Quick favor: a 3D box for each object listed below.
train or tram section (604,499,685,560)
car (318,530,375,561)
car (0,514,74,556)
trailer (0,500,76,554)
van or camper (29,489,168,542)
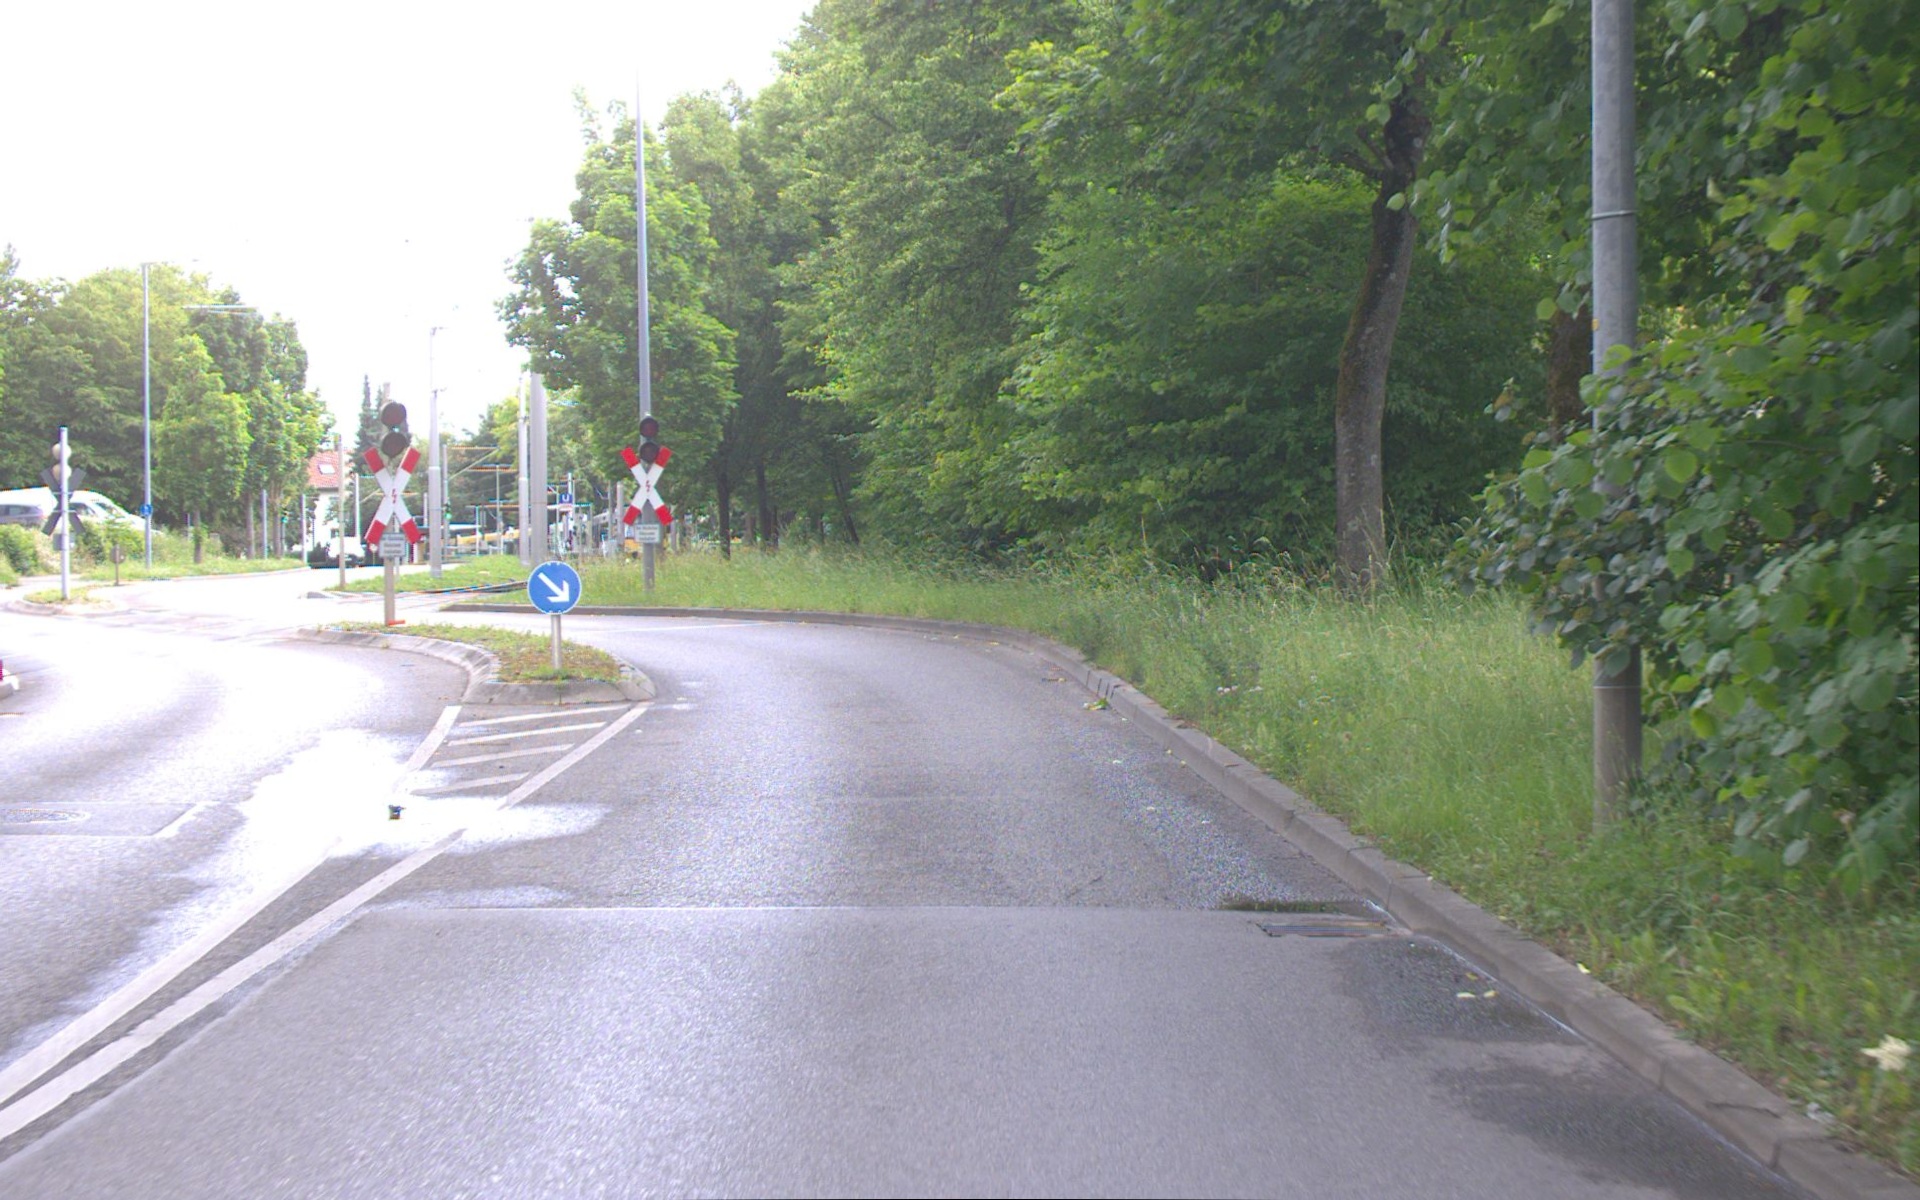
[{"bbox_3d":[-18.913,-4.074,203.735,3.007,3.299,34.719,0,1,-8],"label":"train or tram section"},{"bbox_3d":[-29.706,-2.644,166.520,1.993,1.433,4.426,-2,1,-1],"label":"car"},{"bbox_3d":[-34.557,-2.350,125.087,4.310,1.443,1.836,-2,1,-9],"label":"car"},{"bbox_3d":[-35.156,-2.728,128.090,3.986,2.007,1.908,0,1,-2],"label":"trailer"},{"bbox_3d":[-35.684,-3.498,142.515,5.332,2.195,2.000,0,1,-5],"label":"van or camper"}]
